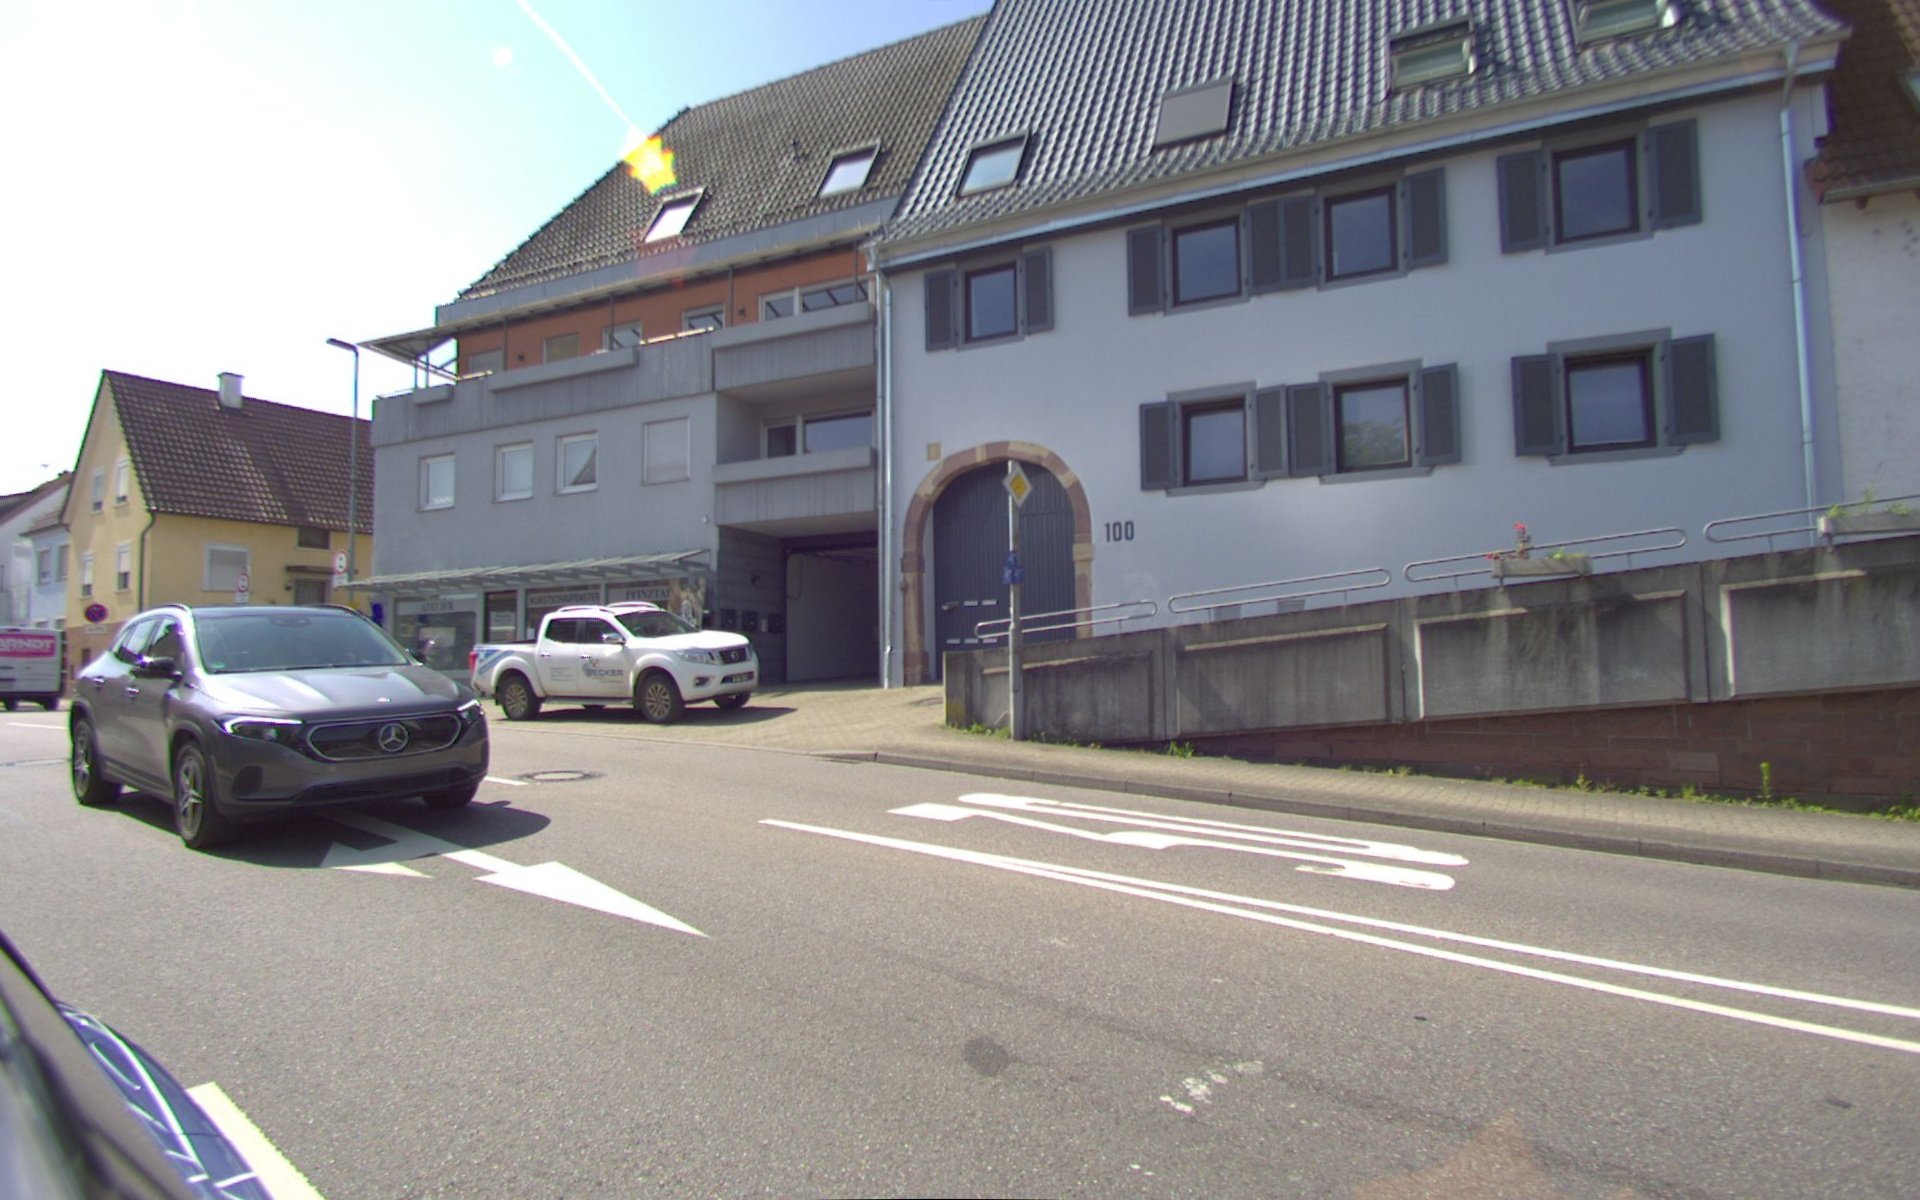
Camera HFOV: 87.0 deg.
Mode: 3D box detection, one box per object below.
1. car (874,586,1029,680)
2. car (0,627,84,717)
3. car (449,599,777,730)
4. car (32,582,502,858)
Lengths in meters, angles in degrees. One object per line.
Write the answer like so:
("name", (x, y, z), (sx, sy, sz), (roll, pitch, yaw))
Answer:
("car", (-0.103, 0.766, 23.958), (1.869, 2.029, 4.082), (-3, -2, 29))
("car", (-22.919, 1.708, 23.966), (5.301, 1.948, 1.952), (-3, -5, 35))
("car", (-5.705, 1.046, 16.503), (5.256, 1.811, 1.795), (-3, 1, 26))
("car", (-5.497, 0.813, 7.820), (4.282, 1.585, 1.717), (-4, -3, 37))
